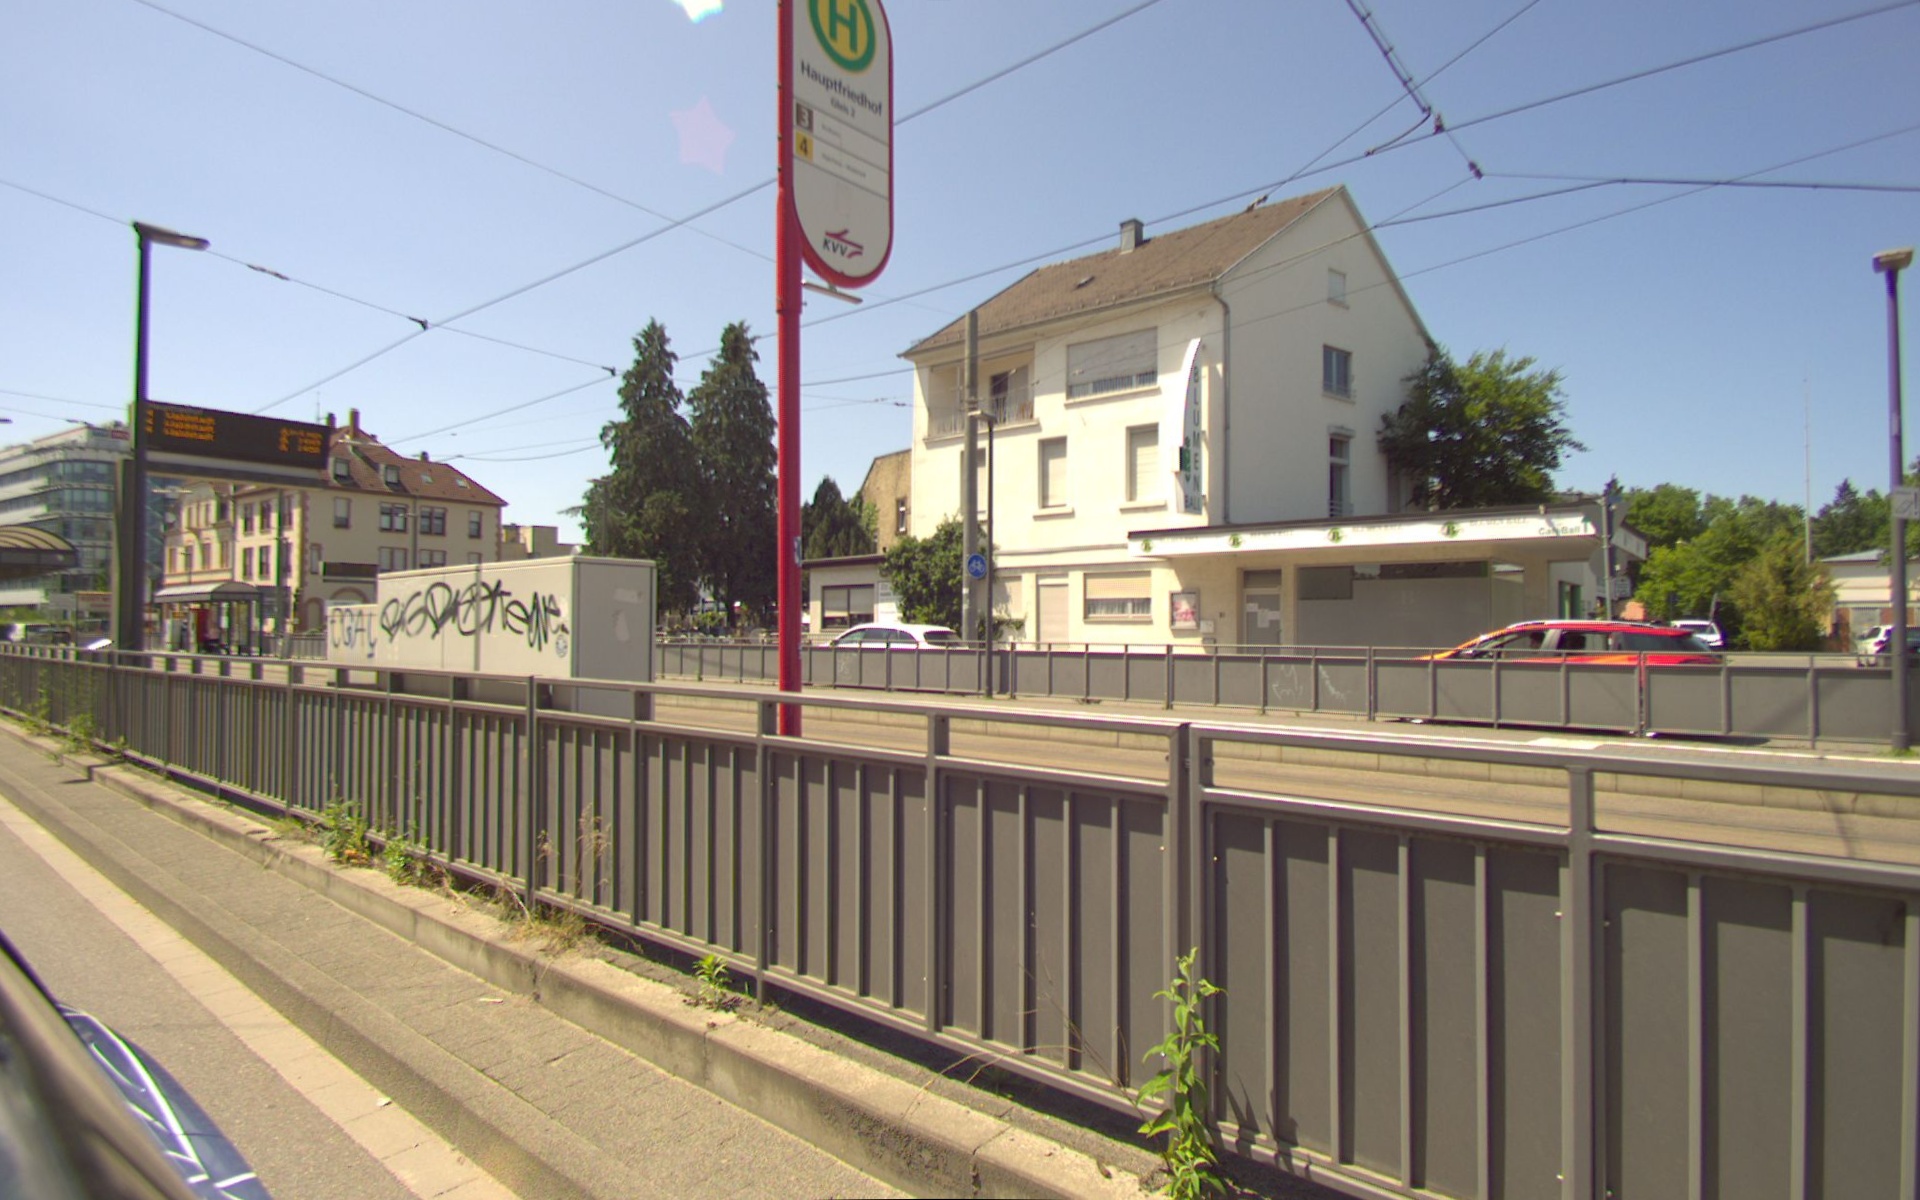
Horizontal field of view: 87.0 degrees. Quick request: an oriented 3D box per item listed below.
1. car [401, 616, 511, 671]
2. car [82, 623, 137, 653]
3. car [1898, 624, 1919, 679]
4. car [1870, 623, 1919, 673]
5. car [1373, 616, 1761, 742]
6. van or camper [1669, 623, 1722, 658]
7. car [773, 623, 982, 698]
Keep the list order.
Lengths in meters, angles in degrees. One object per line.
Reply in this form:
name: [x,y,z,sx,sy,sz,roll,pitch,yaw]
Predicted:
car: [-17.974,1.535,36.004,4.696,1.831,1.836,-2,-3,42]
car: [-55.228,2.450,65.707,3.996,1.852,1.974,-2,-2,39]
car: [25.758,1.369,26.501,1.644,1.381,3.760,-2,-3,42]
car: [29.526,1.500,31.506,1.644,1.457,3.761,-2,-3,41]
car: [7.905,0.959,13.410,4.173,1.406,1.799,-2,-3,41]
van or camper: [34.685,1.901,47.798,1.686,1.578,3.784,-1,-2,32]
car: [-1.891,1.270,22.200,4.619,1.479,1.800,-1,-3,39]
